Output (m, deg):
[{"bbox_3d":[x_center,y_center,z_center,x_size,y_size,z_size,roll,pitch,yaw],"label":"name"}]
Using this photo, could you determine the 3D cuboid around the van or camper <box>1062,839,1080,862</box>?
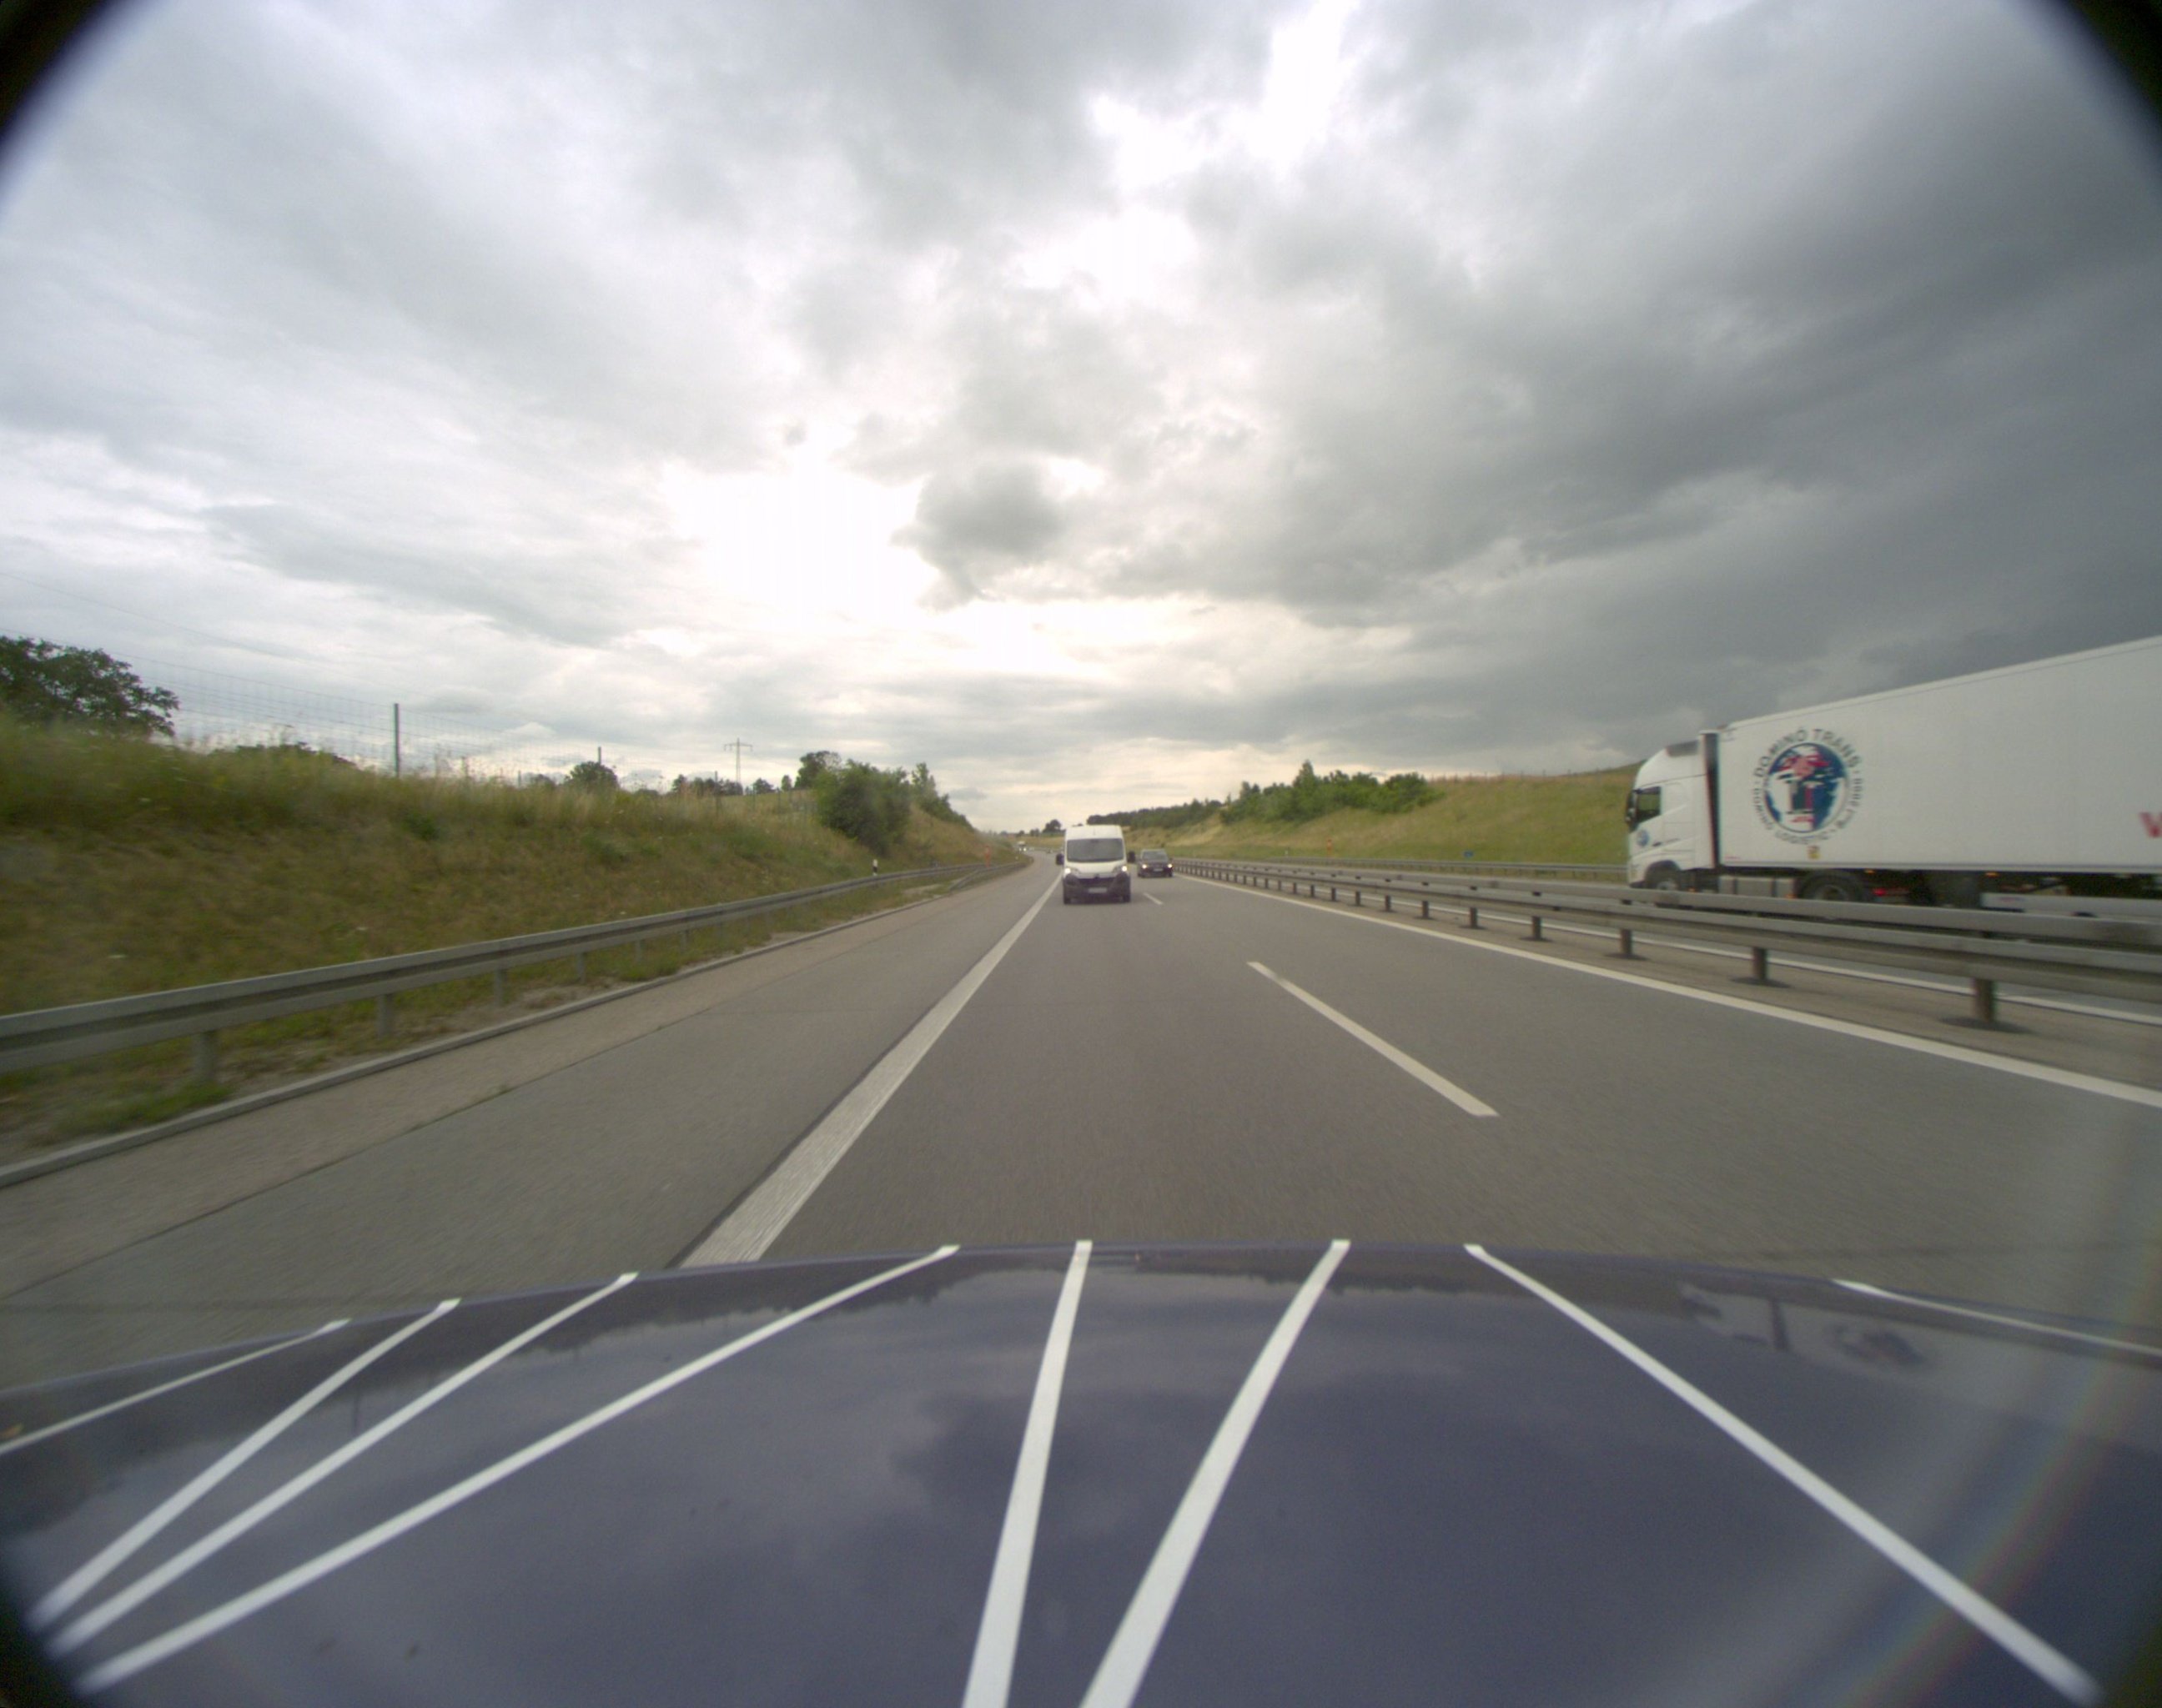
[{"bbox_3d":[-1.323,-0.510,97.180,2.104,2.722,6.899,-2,1,-2],"label":"van or camper"}]

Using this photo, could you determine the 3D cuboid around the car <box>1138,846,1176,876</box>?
[{"bbox_3d":[4.422,0.363,45.058,1.901,1.661,5.397,-1,0,2],"label":"car"}]

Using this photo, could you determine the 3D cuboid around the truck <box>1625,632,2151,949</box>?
[{"bbox_3d":[14.357,-0.945,14.640,2.802,4.620,6.919,-1,1,0],"label":"truck"}]

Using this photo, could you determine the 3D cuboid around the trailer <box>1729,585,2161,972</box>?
[{"bbox_3d":[14.298,-0.911,7.756,2.802,4.623,14.845,-1,0,0],"label":"trailer"}]

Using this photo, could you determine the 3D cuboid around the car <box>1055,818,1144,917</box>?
[{"bbox_3d":[0.433,0.284,21.716,2.132,2.412,6.110,-1,1,0],"label":"car"}]
